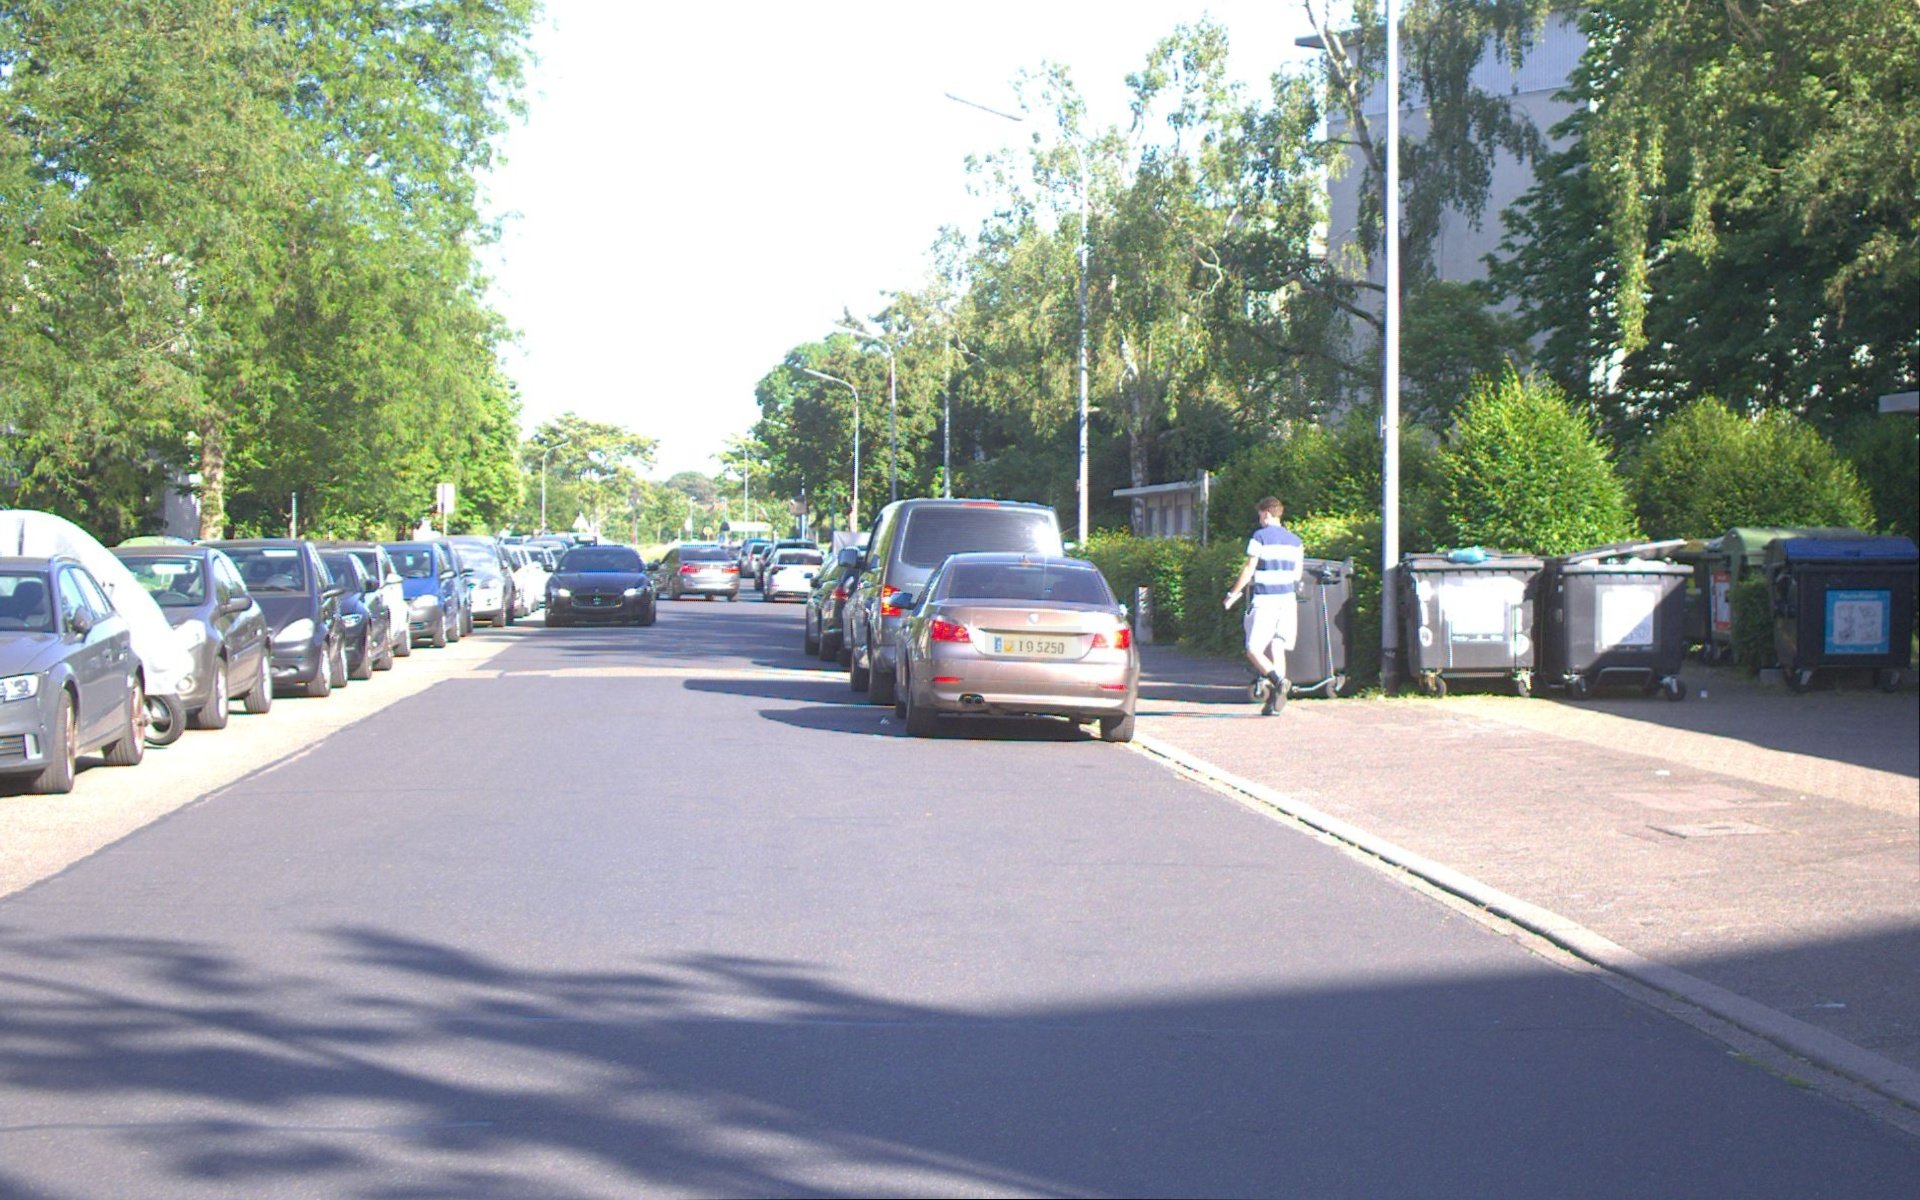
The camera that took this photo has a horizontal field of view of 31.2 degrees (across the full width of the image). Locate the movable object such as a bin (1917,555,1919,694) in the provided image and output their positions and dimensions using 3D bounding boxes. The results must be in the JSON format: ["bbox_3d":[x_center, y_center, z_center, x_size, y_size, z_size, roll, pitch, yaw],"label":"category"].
[{"bbox_3d":[9.708,0.196,31.942,1.276,1.460,1.133,0,5,-1],"label":"movable object such as a bin"}]

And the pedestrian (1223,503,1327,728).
[{"bbox_3d":[2.705,0.125,29.605,0.703,1.882,0.872,-2,1,-3],"label":"pedestrian"}]

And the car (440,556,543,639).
[{"bbox_3d":[-9.220,-0.071,67.856,1.662,1.508,3.946,-1,1,-3],"label":"car"}]

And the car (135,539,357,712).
[{"bbox_3d":[-7.173,0.209,34.853,1.754,1.568,3.721,-2,1,-6],"label":"car"}]

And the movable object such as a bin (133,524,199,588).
[{"bbox_3d":[-18.369,-1.015,79.549,1.177,1.416,1.462,2,1,-2],"label":"movable object such as a bin"}]

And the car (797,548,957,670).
[{"bbox_3d":[-1.171,0.083,46.250,1.731,1.484,4.502,-1,1,-6],"label":"car"}]

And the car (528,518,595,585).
[{"bbox_3d":[-11.738,-1.457,101.422,1.854,1.886,4.419,-1,1,-6],"label":"car"}]

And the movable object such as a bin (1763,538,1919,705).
[{"bbox_3d":[8.301,0.188,32.178,1.276,1.460,1.133,0,5,-1],"label":"movable object such as a bin"}]

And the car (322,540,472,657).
[{"bbox_3d":[-8.431,-0.062,51.756,1.754,1.600,3.969,-2,1,-3],"label":"car"}]

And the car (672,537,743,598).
[{"bbox_3d":[-6.694,-0.887,90.933,1.679,1.508,4.105,2,1,-7],"label":"car"}]

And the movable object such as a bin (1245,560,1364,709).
[{"bbox_3d":[3.258,0.309,32.488,1.026,1.305,1.386,-3,1,6],"label":"movable object such as a bin"}]

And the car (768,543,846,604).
[{"bbox_3d":[-4.095,-0.717,91.565,1.753,1.508,4.105,2,1,-7],"label":"car"}]

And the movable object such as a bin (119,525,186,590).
[{"bbox_3d":[-18.315,-0.970,77.988,1.177,1.416,1.462,2,1,-2],"label":"movable object such as a bin"}]

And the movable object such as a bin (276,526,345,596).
[{"bbox_3d":[-13.275,-0.804,70.315,1.136,1.378,1.442,2,1,-3],"label":"movable object such as a bin"}]

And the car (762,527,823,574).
[{"bbox_3d":[-5.560,-1.655,113.990,1.907,1.525,4.329,1,1,-4],"label":"car"}]

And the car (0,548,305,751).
[{"bbox_3d":[-6.697,0.357,28.831,1.754,1.476,3.960,-2,1,-3],"label":"car"}]

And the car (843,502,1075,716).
[{"bbox_3d":[-0.085,0.032,33.887,1.852,1.927,4.706,1,1,-5],"label":"car"}]

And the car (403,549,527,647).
[{"bbox_3d":[-8.919,-0.064,62.225,1.903,1.634,4.350,-1,1,-4],"label":"car"}]

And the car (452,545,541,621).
[{"bbox_3d":[-9.807,-0.379,72.642,1.662,1.508,3.539,-1,1,-10],"label":"car"}]

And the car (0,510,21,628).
[{"bbox_3d":[-13.086,-0.398,43.720,1.570,1.520,4.001,1,1,-6],"label":"car"}]

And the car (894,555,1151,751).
[{"bbox_3d":[0.428,0.372,28.298,1.801,1.414,4.636,1,1,-3],"label":"car"}]

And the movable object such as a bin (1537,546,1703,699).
[{"bbox_3d":[5.990,0.193,31.276,1.276,1.360,1.133,0,1,-1],"label":"movable object such as a bin"}]

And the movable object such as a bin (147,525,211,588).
[{"bbox_3d":[-18.413,-1.038,81.069,1.177,1.416,1.462,2,1,-2],"label":"movable object such as a bin"}]

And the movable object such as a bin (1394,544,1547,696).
[{"bbox_3d":[4.675,0.168,31.584,1.223,1.360,1.133,0,1,-1],"label":"movable object such as a bin"}]

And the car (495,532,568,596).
[{"bbox_3d":[-10.527,-0.900,84.674,1.686,1.500,3.819,-1,1,-6],"label":"car"}]

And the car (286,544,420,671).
[{"bbox_3d":[-8.096,0.075,46.041,1.444,1.568,3.143,-2,1,-5],"label":"car"}]

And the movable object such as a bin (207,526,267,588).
[{"bbox_3d":[-17.159,-1.029,81.607,1.134,1.416,1.361,2,1,-3],"label":"movable object such as a bin"}]

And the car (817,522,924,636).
[{"bbox_3d":[-1.413,-0.351,53.715,1.488,1.712,2.583,1,1,-5],"label":"car"}]

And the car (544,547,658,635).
[{"bbox_3d":[-6.468,-0.196,62.285,1.910,1.471,4.572,-1,1,-4],"label":"car"}]

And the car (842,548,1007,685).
[{"bbox_3d":[-0.473,0.156,40.748,1.622,1.484,4.037,1,1,-5],"label":"car"}]

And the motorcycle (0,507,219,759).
[{"bbox_3d":[-6.567,0.240,24.763,2.255,1.721,0.932,-3,1,-7],"label":"motorcycle"}]

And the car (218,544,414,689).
[{"bbox_3d":[-7.367,0.140,39.677,1.754,1.476,4.538,-2,1,-5],"label":"car"}]

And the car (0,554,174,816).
[{"bbox_3d":[-6.121,0.476,21.310,1.754,1.416,4.270,-2,1,-4],"label":"car"}]

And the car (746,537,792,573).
[{"bbox_3d":[-8.573,-2.017,154.071,1.795,1.556,3.953,1,1,-6],"label":"car"}]
